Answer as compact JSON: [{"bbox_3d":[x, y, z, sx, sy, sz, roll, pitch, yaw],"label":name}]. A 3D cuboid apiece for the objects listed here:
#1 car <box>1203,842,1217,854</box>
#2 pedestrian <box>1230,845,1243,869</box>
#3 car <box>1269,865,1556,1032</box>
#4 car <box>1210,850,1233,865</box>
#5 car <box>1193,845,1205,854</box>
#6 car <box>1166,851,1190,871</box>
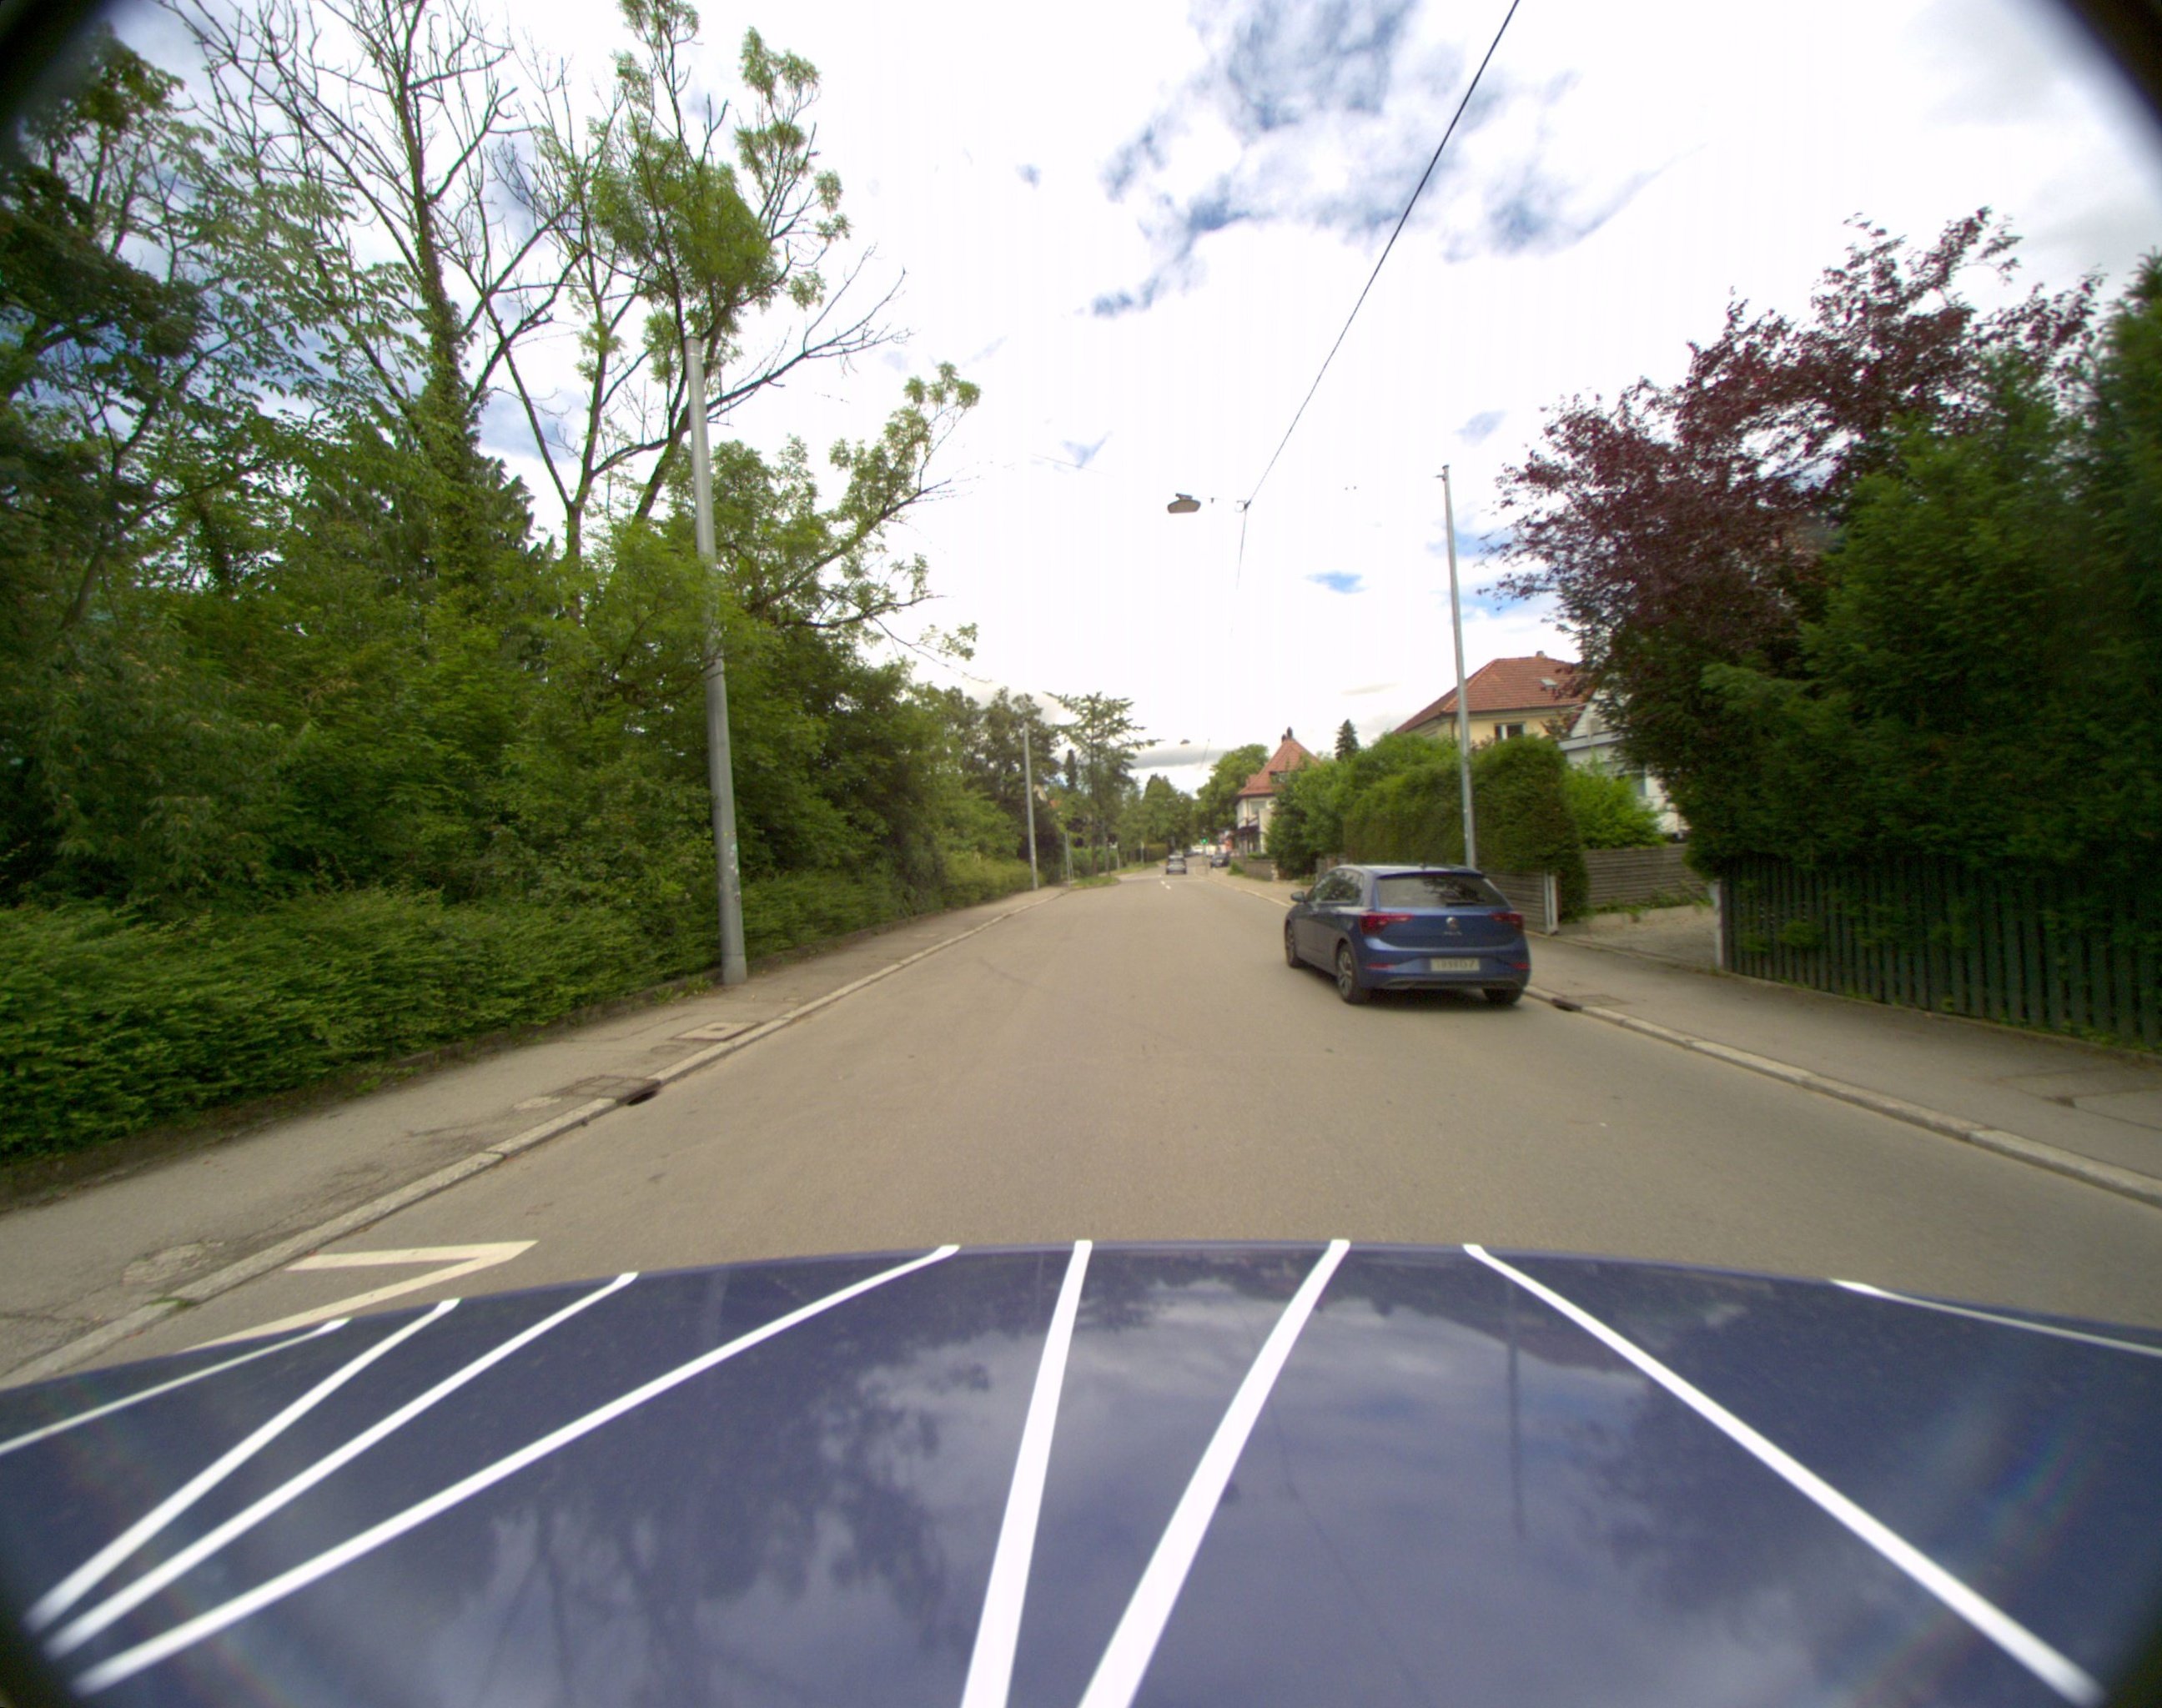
[{"bbox_3d":[22.682,-1.018,133.338,1.884,1.905,4.834,-6,0,5],"label":"car"},{"bbox_3d":[12.014,0.238,58.647,0.821,1.734,0.604,-5,1,6],"label":"pedestrian"},{"bbox_3d":[3.509,0.893,8.884,1.698,1.423,3.927,-1,0,1],"label":"car"},{"bbox_3d":[14.515,0.363,78.307,1.821,1.343,3.395,-5,0,16],"label":"car"},{"bbox_3d":[23.545,-0.962,152.028,1.998,1.686,4.001,-5,0,5],"label":"car"},{"bbox_3d":[8.537,0.573,67.051,1.844,1.646,4.139,0,1,3],"label":"car"}]
